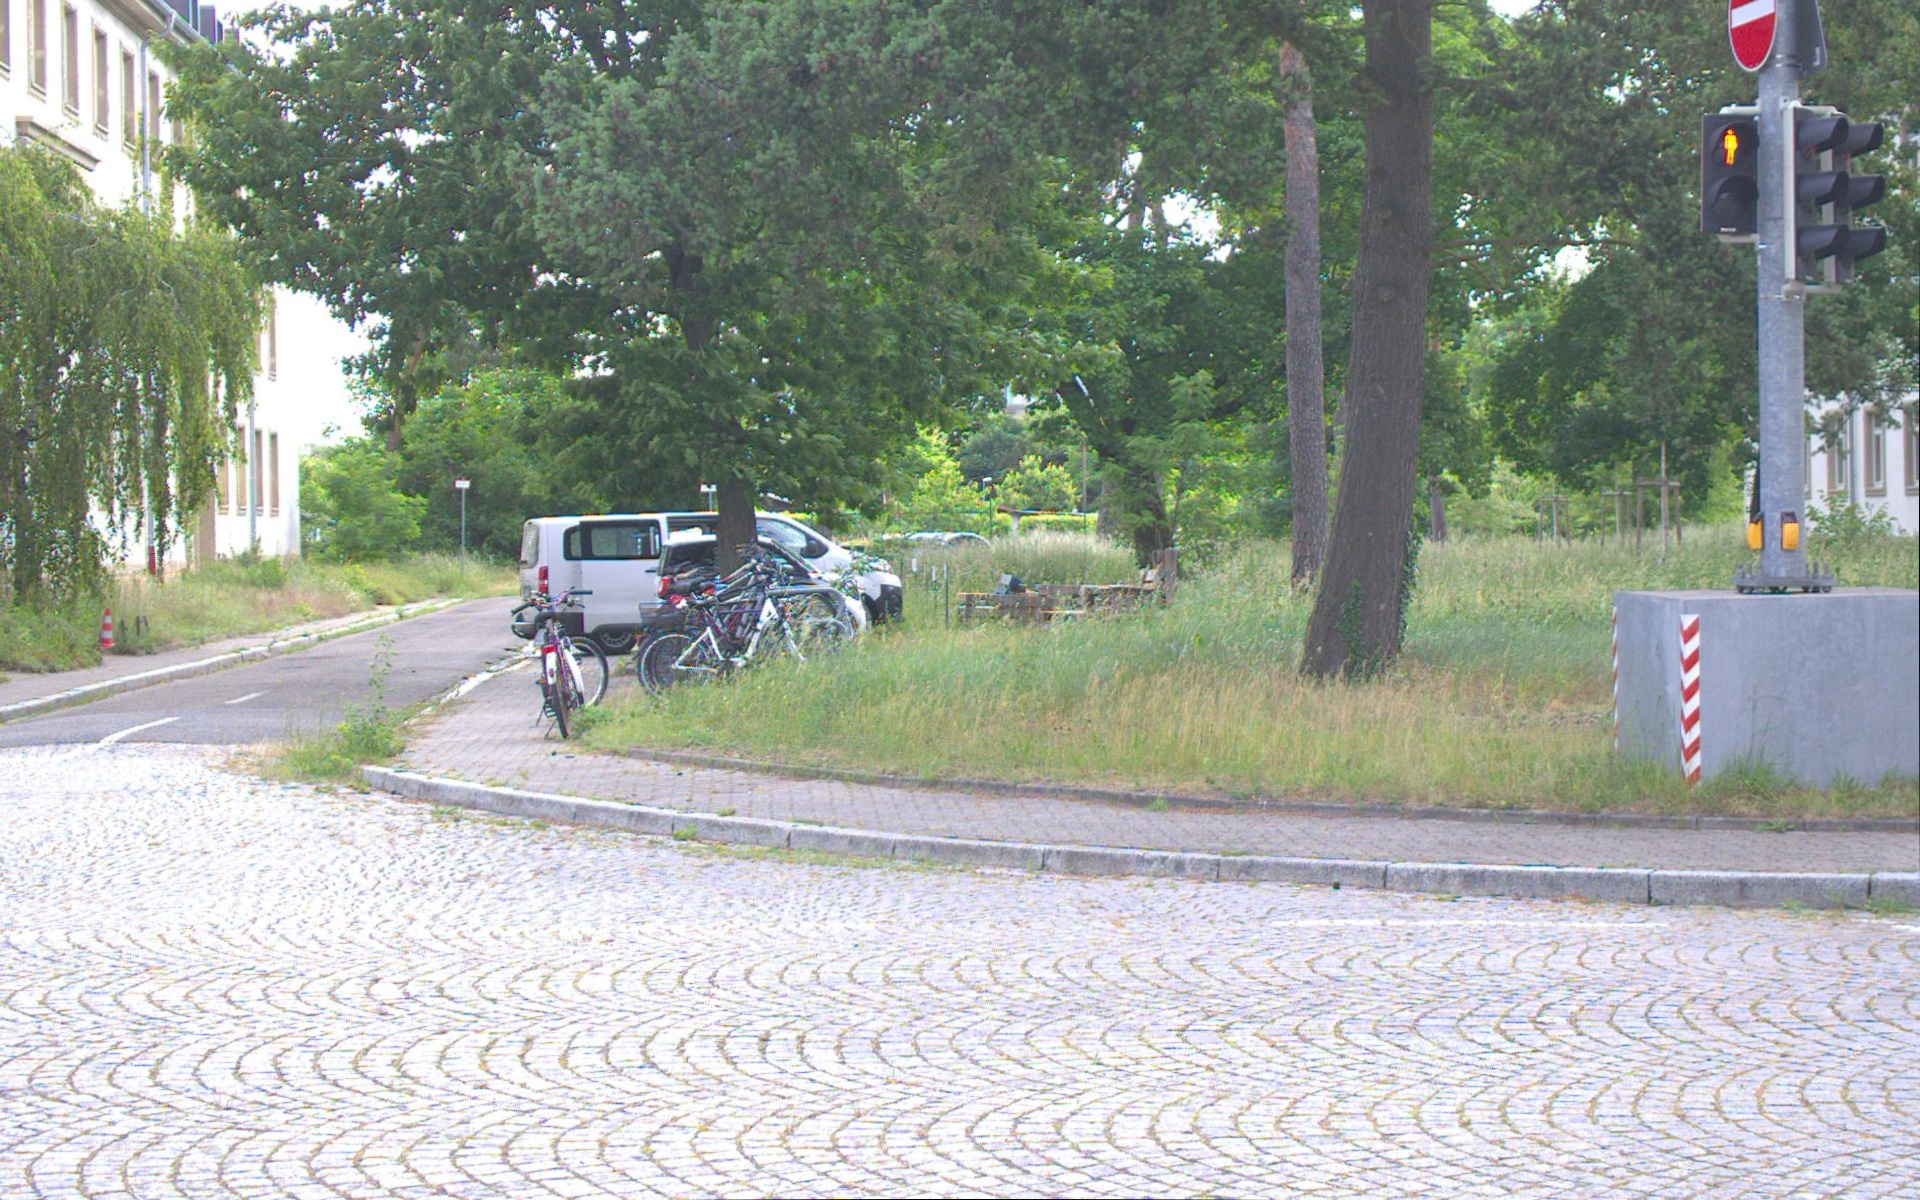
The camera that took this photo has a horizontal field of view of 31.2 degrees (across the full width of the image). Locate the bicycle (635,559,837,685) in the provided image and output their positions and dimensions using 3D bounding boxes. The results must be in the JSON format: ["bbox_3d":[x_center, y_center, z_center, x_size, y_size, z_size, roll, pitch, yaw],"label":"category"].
[{"bbox_3d":[-2.242,0.217,34.317,1.982,1.243,0.624,0,1,-5],"label":"bicycle"}]

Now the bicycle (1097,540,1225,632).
[{"bbox_3d":[2.510,-0.175,42.988,1.549,1.121,0.401,-1,1,-2],"label":"bicycle"}]

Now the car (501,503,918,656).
[{"bbox_3d":[-3.455,-0.303,47.202,5.303,1.909,2.150,-2,1,-18],"label":"car"}]

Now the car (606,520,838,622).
[{"bbox_3d":[-4.237,-0.520,61.069,4.031,1.712,1.681,-1,1,-5],"label":"car"}]

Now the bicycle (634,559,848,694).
[{"bbox_3d":[-2.058,0.246,32.207,1.982,1.243,0.624,0,1,-5],"label":"bicycle"}]

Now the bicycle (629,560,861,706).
[{"bbox_3d":[-1.867,0.280,29.795,1.982,1.243,0.624,0,1,-5],"label":"bicycle"}]

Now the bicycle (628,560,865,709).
[{"bbox_3d":[-1.819,0.288,29.168,1.982,1.243,0.624,0,1,-5],"label":"bicycle"}]

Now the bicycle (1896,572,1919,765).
[{"bbox_3d":[5.187,0.374,17.113,0.580,0.967,1.678,-3,3,0],"label":"bicycle"}]

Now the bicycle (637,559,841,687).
[{"bbox_3d":[-2.180,0.224,33.807,1.982,1.243,0.624,0,1,-5],"label":"bicycle"}]

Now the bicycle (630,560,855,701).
[{"bbox_3d":[-1.951,0.267,30.718,1.982,1.243,0.624,0,1,-5],"label":"bicycle"}]

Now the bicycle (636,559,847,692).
[{"bbox_3d":[-2.082,0.239,32.732,1.982,1.243,0.624,0,1,-5],"label":"bicycle"}]

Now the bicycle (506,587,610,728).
[{"bbox_3d":[-3.224,0.447,27.668,0.622,1.079,1.678,0,1,0],"label":"bicycle"}]

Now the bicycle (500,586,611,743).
[{"bbox_3d":[-3.010,0.459,25.723,0.622,1.110,1.989,0,1,-1],"label":"bicycle"}]

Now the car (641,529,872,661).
[{"bbox_3d":[-2.590,-0.074,43.771,2.847,1.552,1.472,-1,2,-4],"label":"car"}]

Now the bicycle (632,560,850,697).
[{"bbox_3d":[-2.016,0.255,31.576,1.982,1.243,0.624,0,1,-5],"label":"bicycle"}]

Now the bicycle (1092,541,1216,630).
[{"bbox_3d":[2.495,-0.195,44.220,1.549,1.121,0.401,-1,1,-2],"label":"bicycle"}]

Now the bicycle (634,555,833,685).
[{"bbox_3d":[-2.346,0.201,35.467,1.982,1.243,0.624,-2,1,-5],"label":"bicycle"}]

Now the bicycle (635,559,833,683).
[{"bbox_3d":[-2.295,0.210,34.809,1.982,1.243,0.624,0,1,-5],"label":"bicycle"}]
